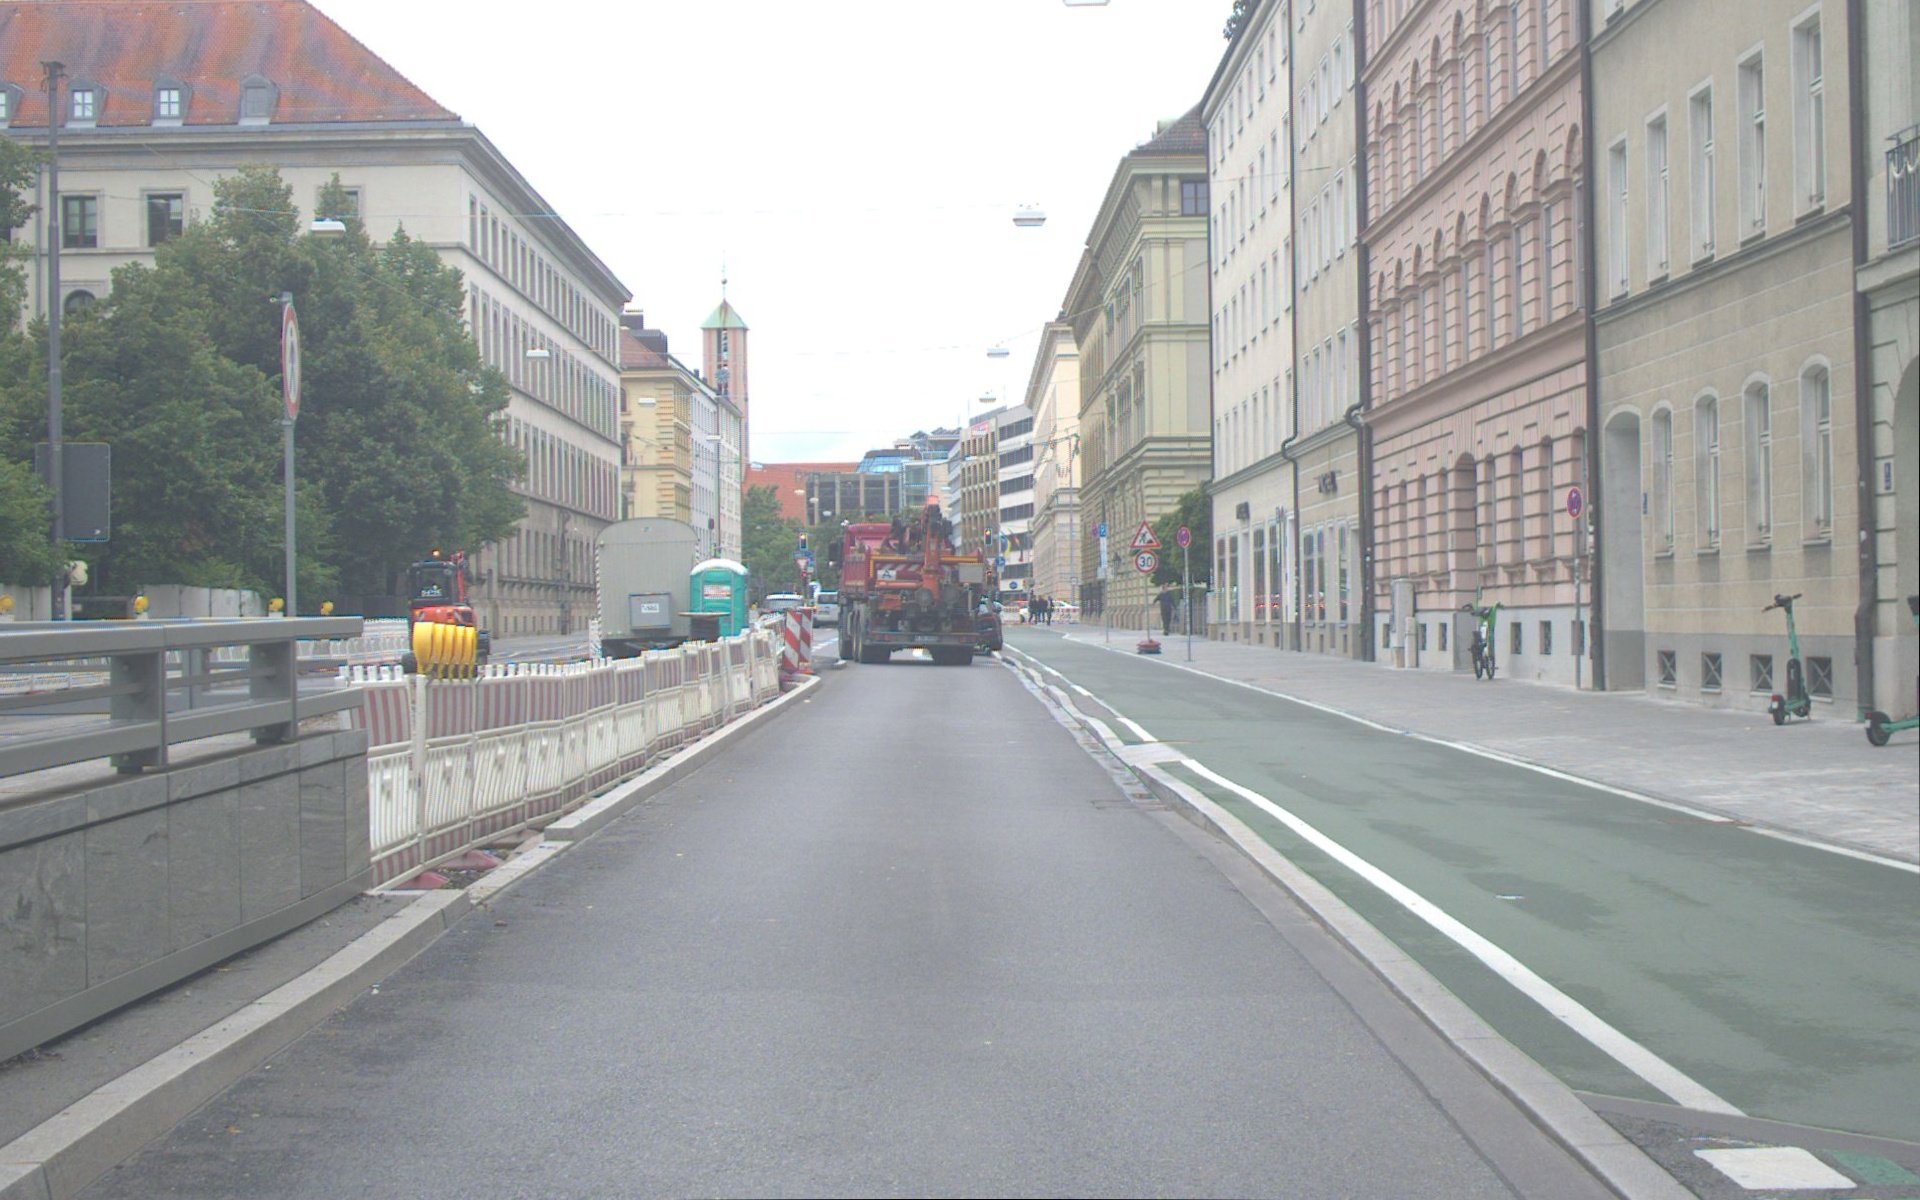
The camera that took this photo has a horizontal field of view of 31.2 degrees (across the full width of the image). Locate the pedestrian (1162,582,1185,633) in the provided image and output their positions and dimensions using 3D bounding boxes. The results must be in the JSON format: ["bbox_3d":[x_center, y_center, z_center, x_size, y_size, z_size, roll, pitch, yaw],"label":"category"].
[{"bbox_3d":[7.645,0.266,123.096,0.790,1.830,0.777,-1,0,1],"label":"pedestrian"}]

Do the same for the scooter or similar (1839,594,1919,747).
[{"bbox_3d":[7.787,0.575,28.473,1.116,1.227,0.247,-2,-1,-33],"label":"scooter or similar"}]

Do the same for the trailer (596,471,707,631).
[{"bbox_3d":[-6.635,-1.006,73.903,2.226,3.232,7.520,-1,0,-5],"label":"trailer"}]

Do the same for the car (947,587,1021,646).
[{"bbox_3d":[0.605,0.415,91.095,1.801,1.475,4.687,-1,0,-1],"label":"car"}]

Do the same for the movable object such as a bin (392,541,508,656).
[{"bbox_3d":[-11.749,-0.056,79.423,1.924,2.563,4.492,0,0,1],"label":"movable object such as a bin"}]

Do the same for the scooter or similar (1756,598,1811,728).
[{"bbox_3d":[7.980,0.600,33.294,0.247,1.227,1.118,-3,-1,25],"label":"scooter or similar"}]

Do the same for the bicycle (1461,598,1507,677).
[{"bbox_3d":[7.912,0.556,51.899,0.426,1.170,1.730,-1,0,17],"label":"bicycle"}]

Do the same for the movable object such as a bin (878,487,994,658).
[{"bbox_3d":[-0.582,-0.581,75.415,2.423,3.599,5.852,0,0,-1],"label":"movable object such as a bin"}]
